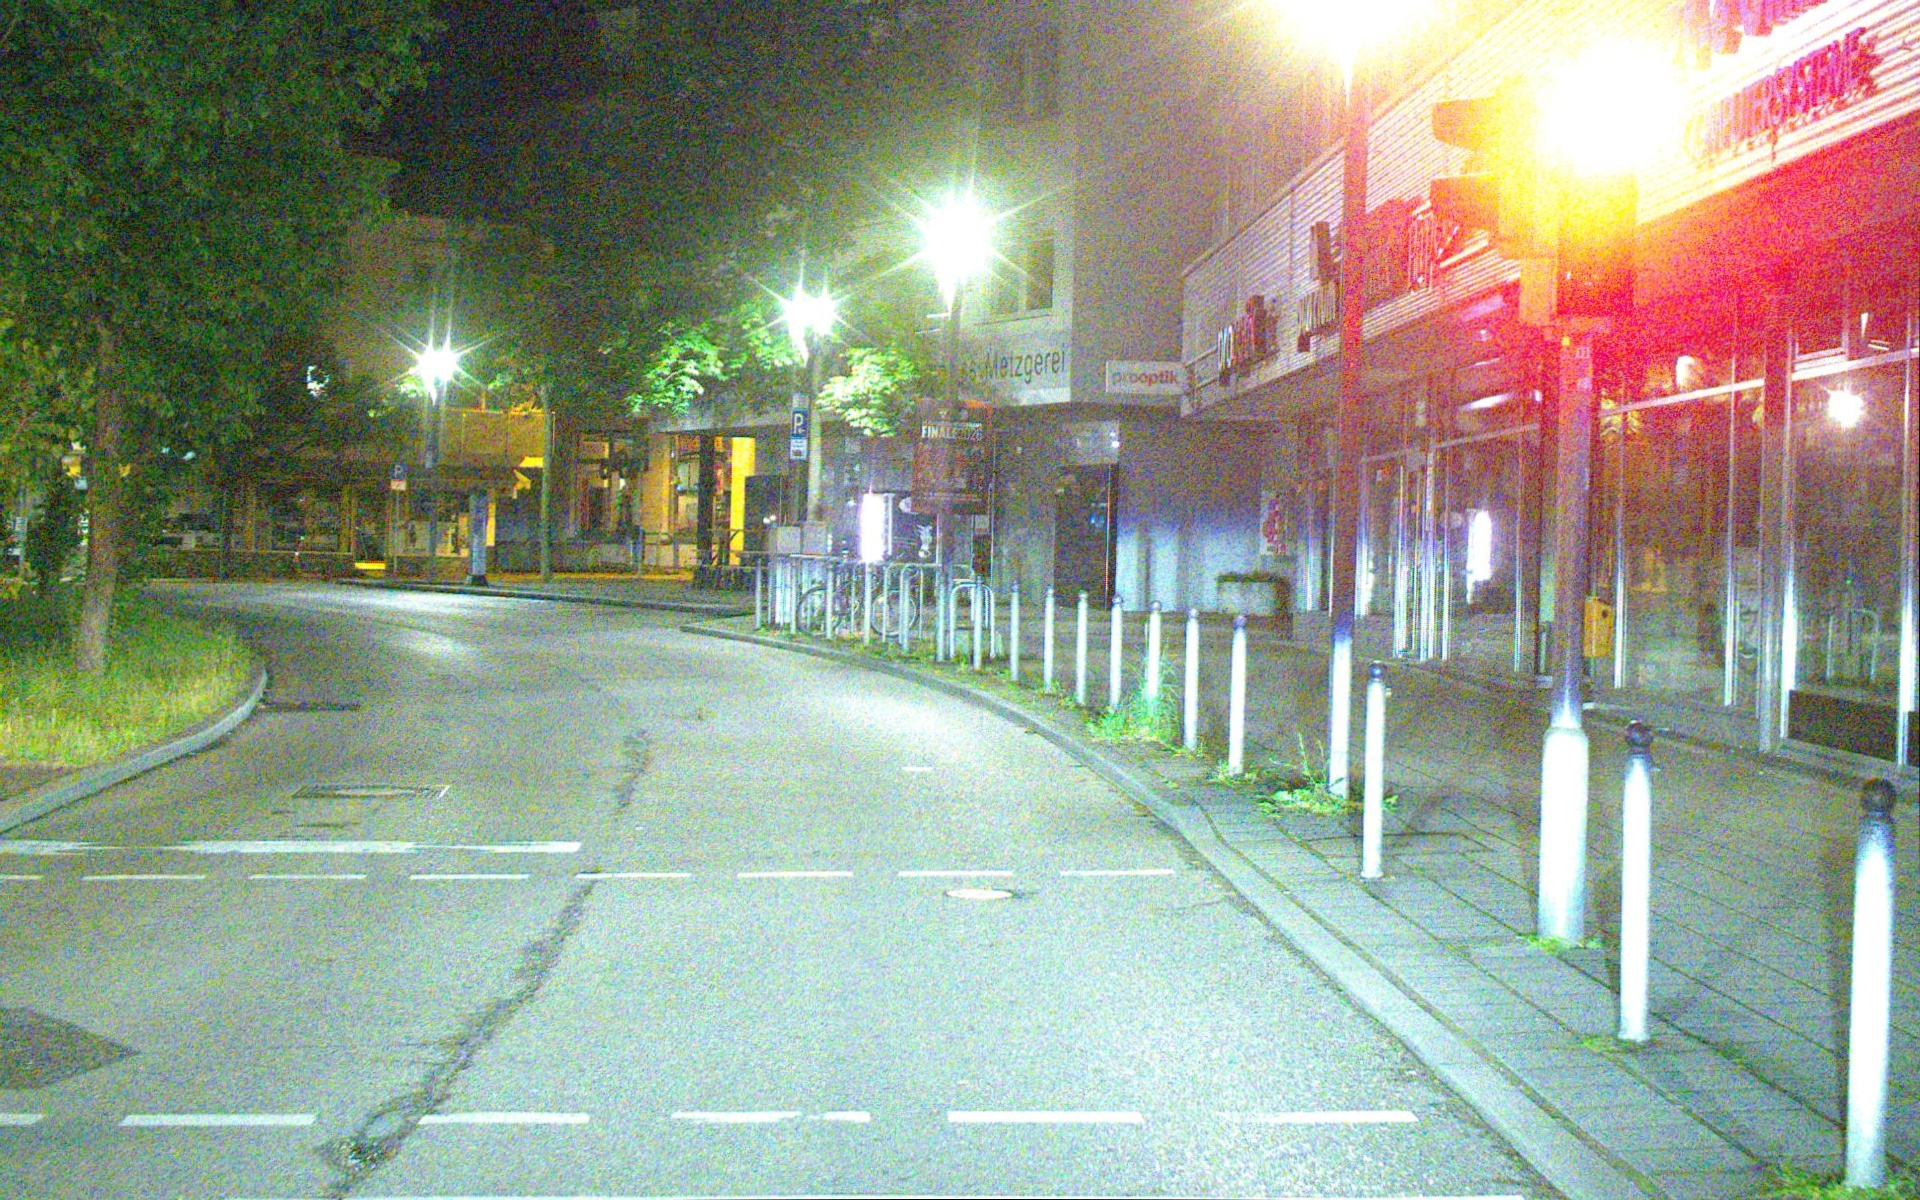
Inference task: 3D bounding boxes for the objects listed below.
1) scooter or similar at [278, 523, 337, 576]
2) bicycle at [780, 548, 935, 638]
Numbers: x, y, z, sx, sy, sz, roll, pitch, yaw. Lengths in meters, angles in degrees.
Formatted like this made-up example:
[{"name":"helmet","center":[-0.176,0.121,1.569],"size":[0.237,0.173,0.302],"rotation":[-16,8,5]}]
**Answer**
[{"name":"scooter or similar","center":[-15.990,-1.240,84.274],"size":[1.246,1.223,0.598],"rotation":[2,2,-28]},{"name":"bicycle","center":[-1.247,-0.083,41.831],"size":[1.749,1.059,0.656],"rotation":[1,2,-25]}]
